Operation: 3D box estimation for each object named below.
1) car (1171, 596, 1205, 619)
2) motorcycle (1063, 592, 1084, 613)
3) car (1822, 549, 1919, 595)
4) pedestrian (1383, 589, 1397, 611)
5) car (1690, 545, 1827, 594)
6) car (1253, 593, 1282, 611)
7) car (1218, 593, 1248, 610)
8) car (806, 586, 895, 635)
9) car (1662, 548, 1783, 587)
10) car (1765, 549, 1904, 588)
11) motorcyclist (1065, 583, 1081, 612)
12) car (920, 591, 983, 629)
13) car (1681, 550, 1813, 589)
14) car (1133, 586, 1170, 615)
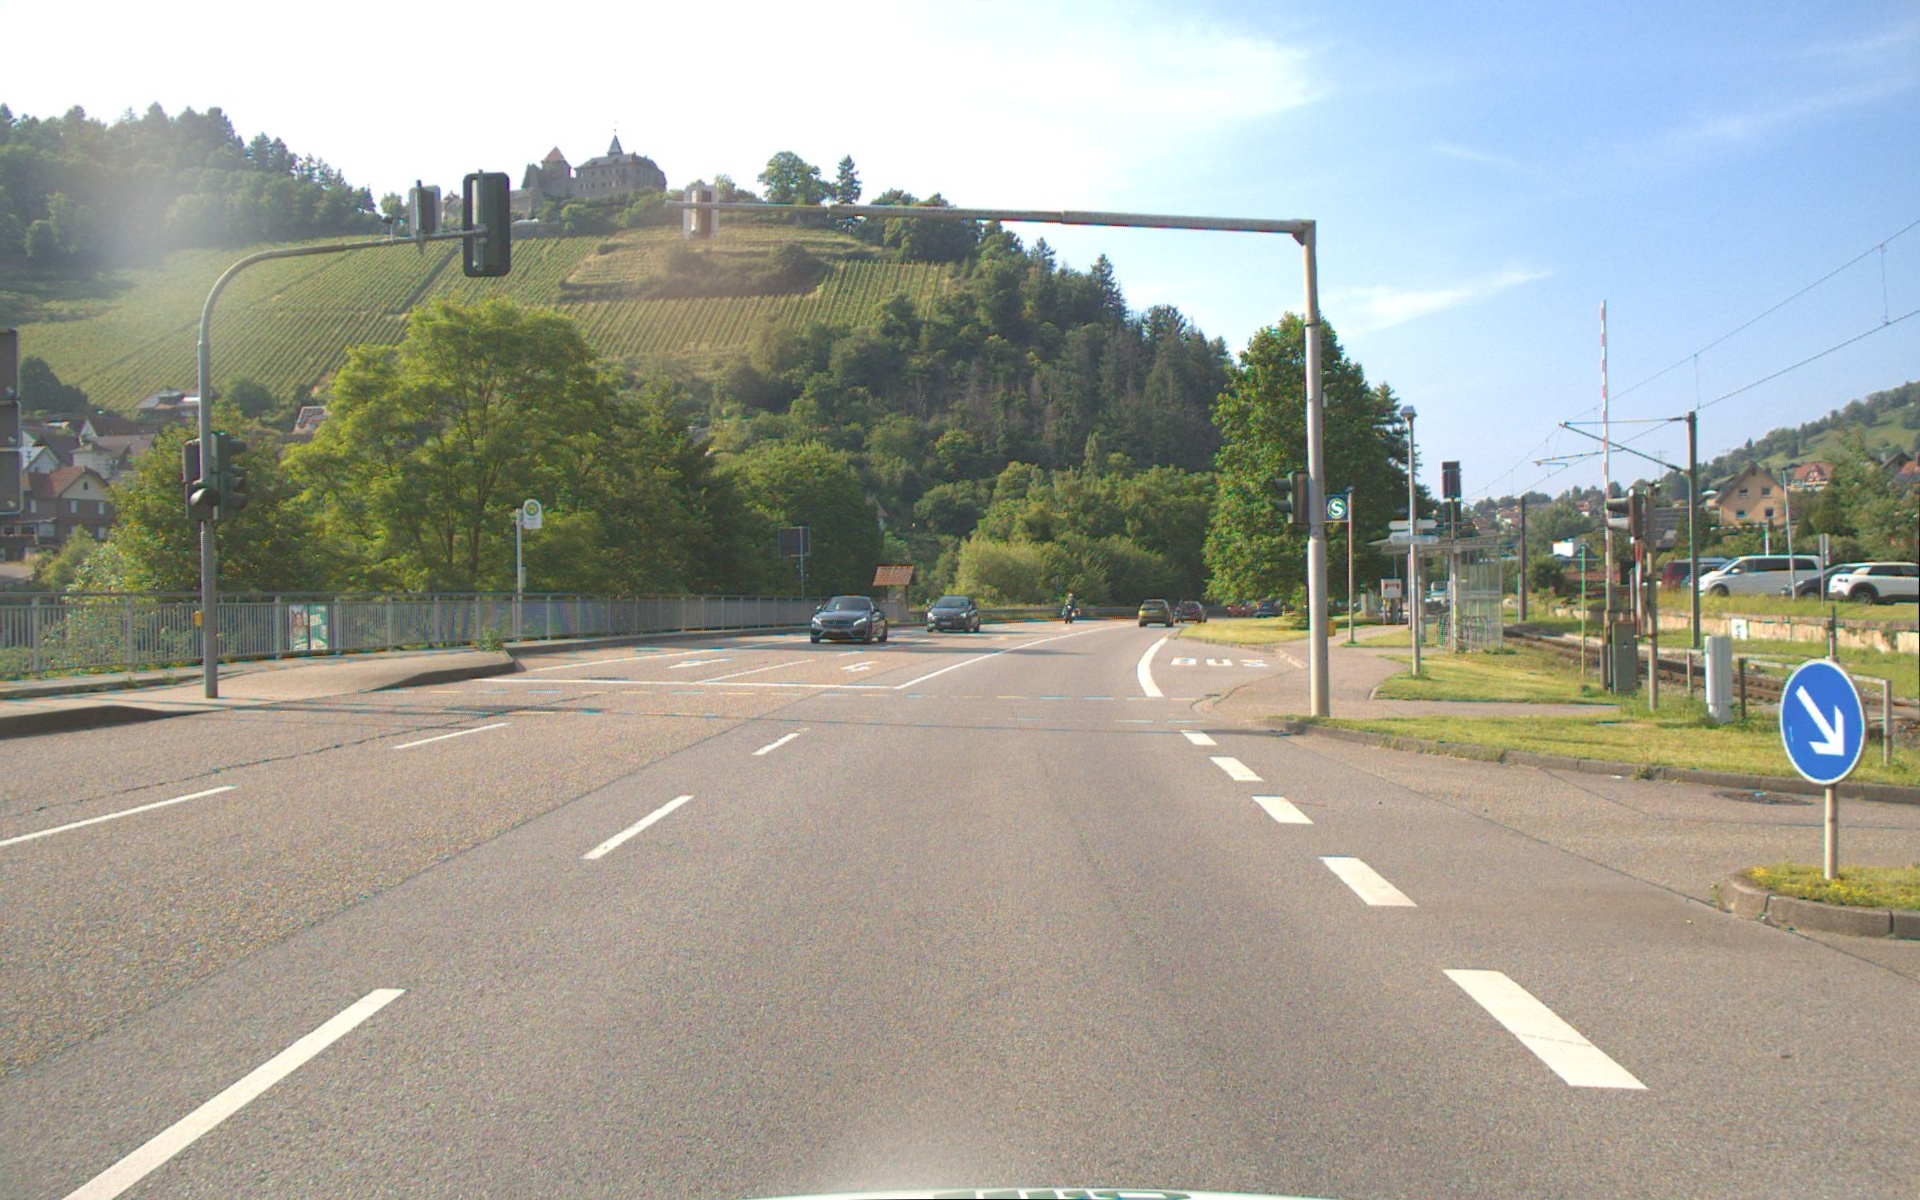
[{"bbox_3d":[15.317,0.485,110.965,1.801,1.485,3.716,-2,-1,14],"label":"car"},{"bbox_3d":[7.124,0.143,103.672,0.951,1.242,2.574,1,0,12],"label":"motorcycle"},{"bbox_3d":[30.199,-0.908,53.234,4.008,1.422,1.811,0,0,13],"label":"car"},{"bbox_3d":[23.645,-0.025,90.882,0.622,1.181,0.726,-2,-1,21],"label":"pedestrian"},{"bbox_3d":[33.785,-1.272,70.084,4.845,1.977,2.143,0,0,13],"label":"car"},{"bbox_3d":[26.902,0.160,144.730,1.770,1.478,3.646,-2,-1,22],"label":"car"},{"bbox_3d":[25.139,0.135,152.265,1.642,1.485,4.198,0,0,26],"label":"car"},{"bbox_3d":[-3.277,0.299,50.404,1.733,1.401,4.648,1,0,8],"label":"car"},{"bbox_3d":[35.707,-1.516,77.536,4.845,1.720,1.938,0,0,13],"label":"car"},{"bbox_3d":[32.064,-1.133,60.747,4.174,1.367,1.833,0,0,13],"label":"car"},{"bbox_3d":[7.081,-0.159,103.531,0.826,1.815,1.172,0,0,12],"label":"motorcyclist"},{"bbox_3d":[-0.312,0.385,68.594,1.747,1.504,4.758,0,0,11],"label":"car"},{"bbox_3d":[34.362,-1.311,72.365,4.845,1.615,2.143,0,0,13],"label":"car"},{"bbox_3d":[10.675,0.033,91.948,1.691,1.482,3.413,-2,-1,12],"label":"car"}]
